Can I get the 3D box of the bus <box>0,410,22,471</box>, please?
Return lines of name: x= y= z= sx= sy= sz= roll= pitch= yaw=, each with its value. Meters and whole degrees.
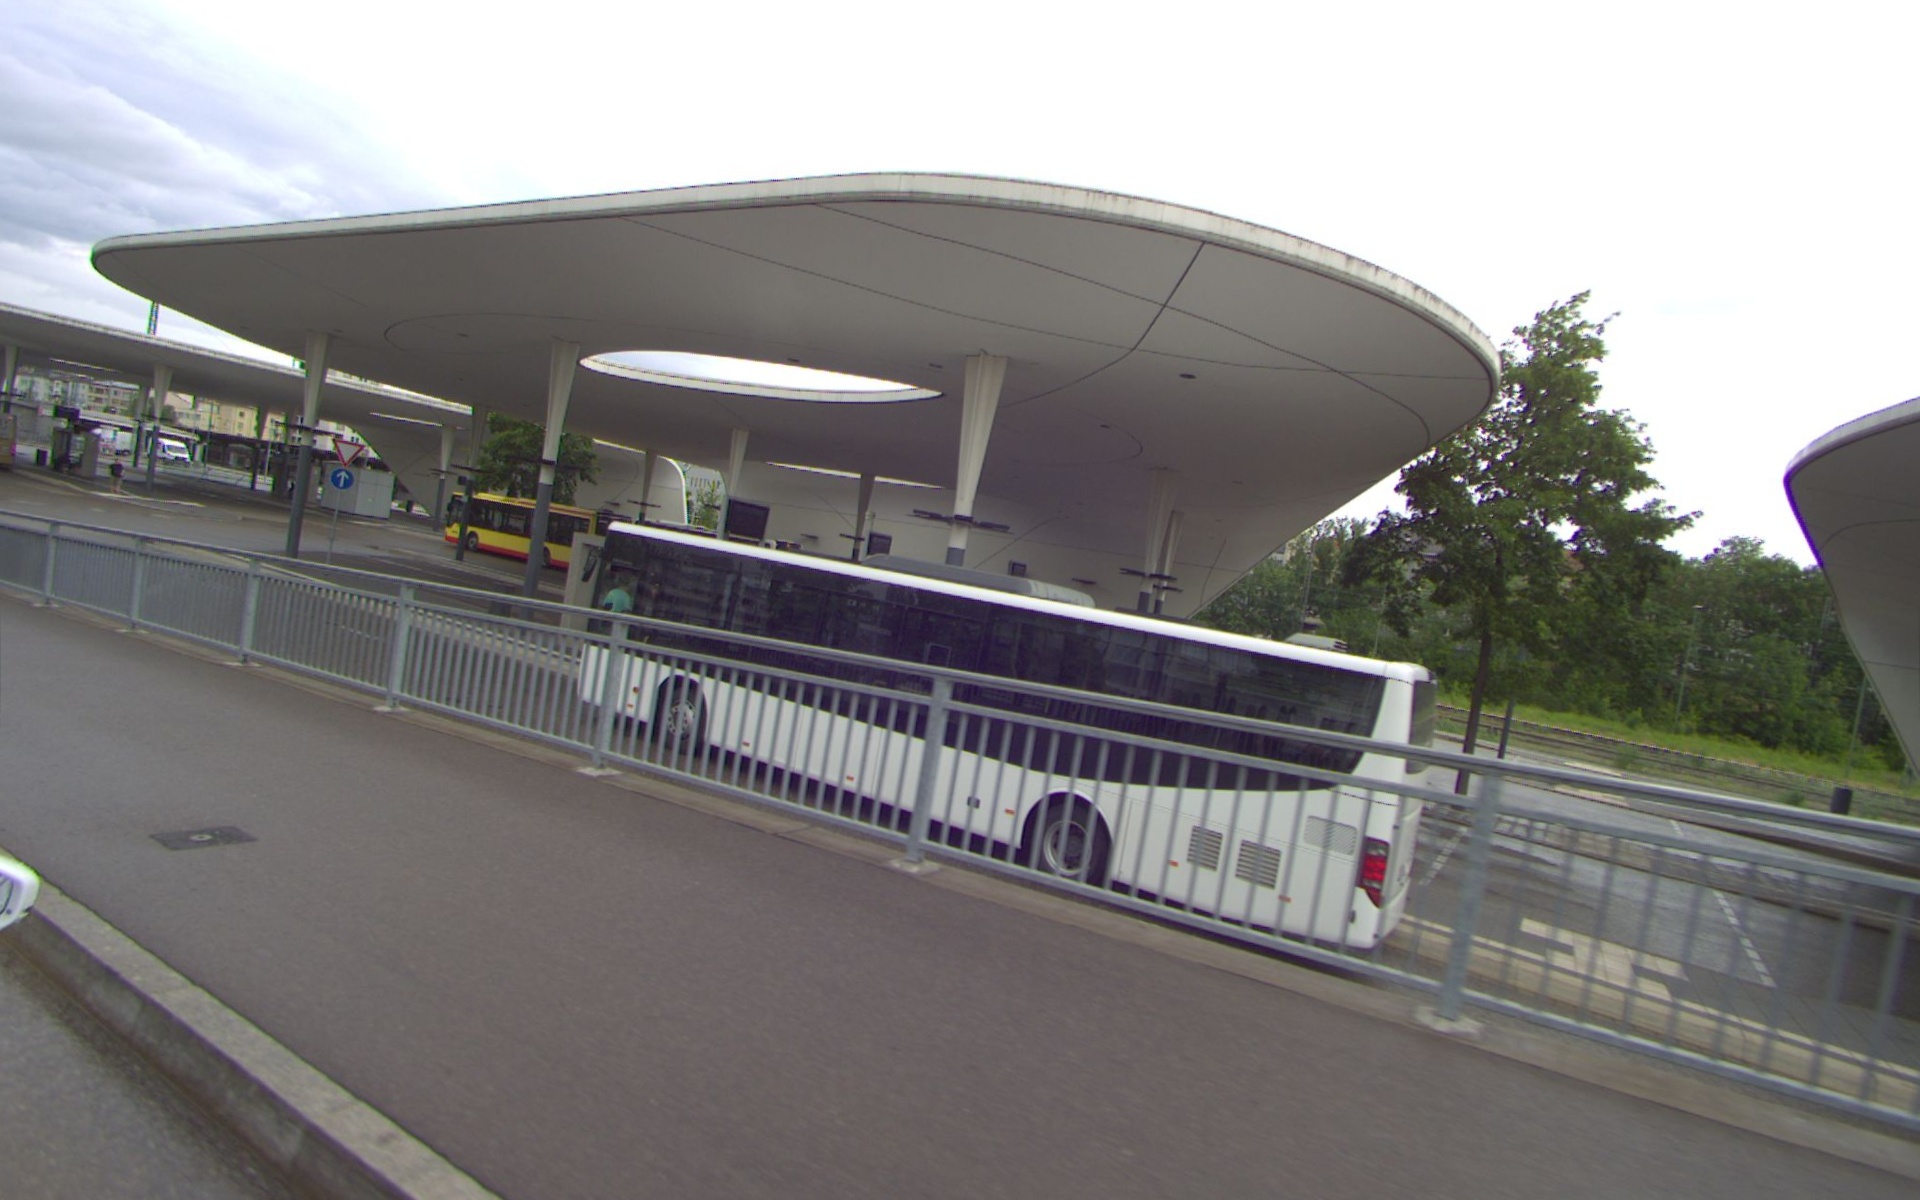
bus: x=-56.129 y=-9.417 z=56.069 sx=11.888 sy=3.085 sz=2.722 roll=10 pitch=4 yaw=32

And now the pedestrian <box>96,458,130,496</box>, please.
pedestrian: x=-42.262 y=-6.112 z=50.182 sx=1.002 sy=1.707 sz=0.718 roll=8 pitch=5 yaw=7

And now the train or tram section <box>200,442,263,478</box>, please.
train or tram section: x=-108.803 y=-20.921 z=150.177 sx=11.421 sy=3.702 sz=3.138 roll=11 pitch=0 yaw=32

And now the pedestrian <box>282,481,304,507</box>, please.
pedestrian: x=-46.715 y=-7.398 z=70.473 sx=0.892 sy=1.605 sz=0.796 roll=9 pitch=1 yaw=26

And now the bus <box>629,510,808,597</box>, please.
bus: x=-14.256 y=-2.789 z=58.592 sx=11.771 sy=3.301 sz=2.466 roll=11 pitch=5 yaw=32

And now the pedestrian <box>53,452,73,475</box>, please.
pedestrian: x=-53.256 y=-8.108 z=59.734 sx=0.789 sy=1.243 sz=0.626 roll=5 pitch=4 yaw=-40

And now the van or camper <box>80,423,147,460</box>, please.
van or camper: x=-86.394 y=-16.166 z=102.706 sx=2.083 sy=2.587 sz=4.617 roll=8 pitch=-1 yaw=31

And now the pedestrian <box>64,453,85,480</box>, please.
pedestrian: x=-51.499 y=-7.767 z=58.522 sx=0.789 sy=1.396 sz=0.626 roll=5 pitch=5 yaw=-40

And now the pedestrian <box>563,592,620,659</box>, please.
pedestrian: x=-7.914 y=0.539 z=21.613 sx=0.637 sy=1.273 sz=0.951 roll=10 pitch=6 yaw=9

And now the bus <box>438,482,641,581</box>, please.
bus: x=-21.569 y=-3.550 z=51.132 sx=11.935 sy=3.300 sz=2.791 roll=10 pitch=3 yaw=31

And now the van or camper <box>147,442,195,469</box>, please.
van or camper: x=-79.741 y=-14.608 z=101.649 sx=5.389 sy=2.127 sz=1.997 roll=8 pitch=-1 yaw=32

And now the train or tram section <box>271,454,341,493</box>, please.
train or tram section: x=-89.840 y=-17.361 z=138.042 sx=11.421 sy=3.720 sz=3.138 roll=10 pitch=0 yaw=32

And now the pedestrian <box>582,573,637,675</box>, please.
pedestrian: x=-6.945 y=0.469 z=19.960 sx=0.638 sy=1.910 sz=0.585 roll=10 pitch=2 yaw=-6

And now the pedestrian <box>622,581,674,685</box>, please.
pedestrian: x=-6.149 y=0.640 z=19.870 sx=0.638 sy=1.928 sz=0.585 roll=8 pitch=2 yaw=-7

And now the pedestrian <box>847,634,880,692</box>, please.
pedestrian: x=-2.931 y=1.913 z=30.577 sx=0.548 sy=1.677 sz=0.568 roll=11 pitch=5 yaw=38

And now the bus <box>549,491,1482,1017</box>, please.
bus: x=-0.209 y=1.192 z=13.447 sx=12.218 sy=3.401 sz=2.851 roll=12 pitch=0 yaw=32
